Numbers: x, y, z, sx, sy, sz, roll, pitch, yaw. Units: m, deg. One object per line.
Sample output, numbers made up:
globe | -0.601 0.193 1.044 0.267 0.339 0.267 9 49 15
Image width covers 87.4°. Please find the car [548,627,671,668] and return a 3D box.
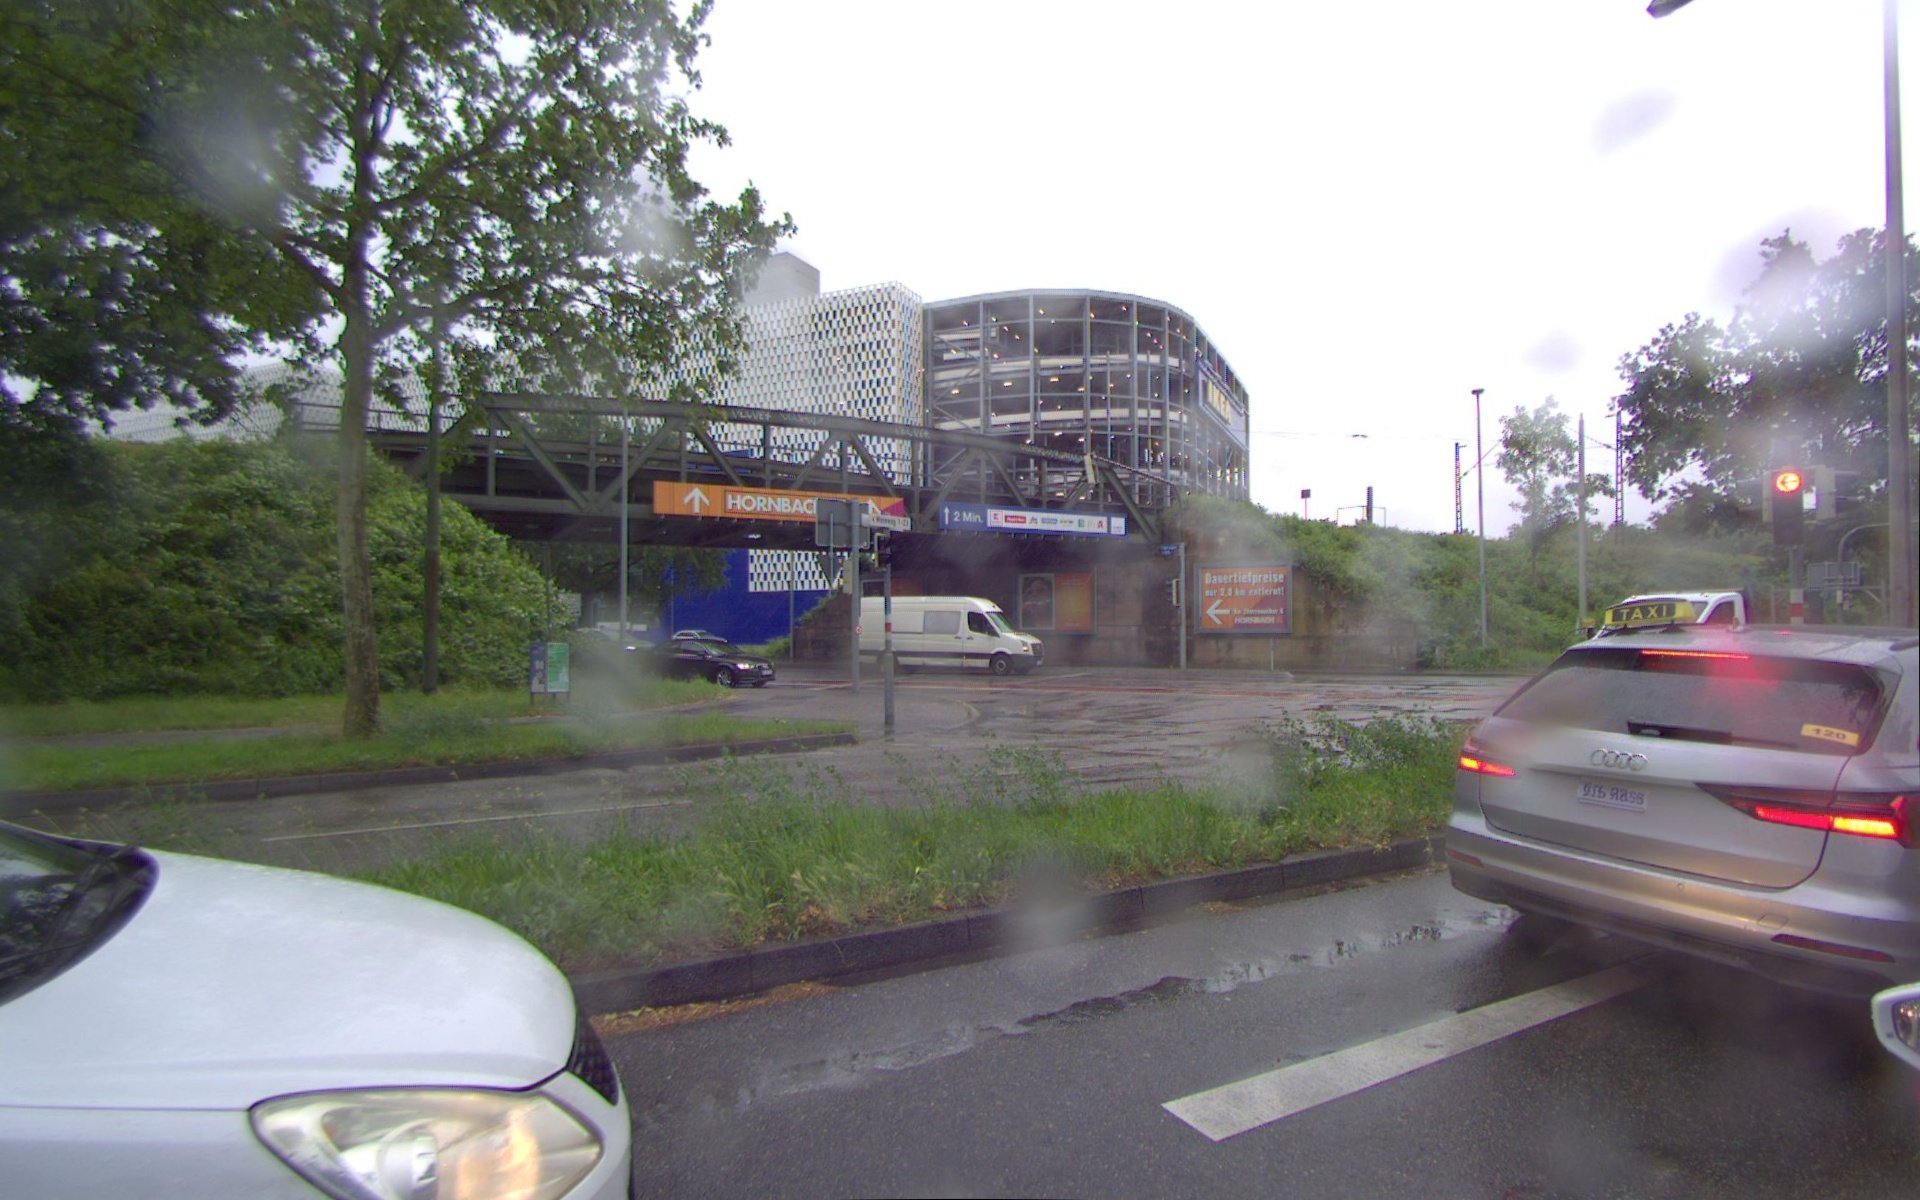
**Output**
car | -14.574 1.962 41.751 4.858 1.621 1.882 -1 -2 24

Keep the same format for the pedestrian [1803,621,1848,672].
pedestrian | 32.399 1.732 37.603 1.122 1.871 1.092 2 -2 -41

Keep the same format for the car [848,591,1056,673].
car | -0.323 1.107 34.760 6.847 2.645 2.386 -1 -2 25

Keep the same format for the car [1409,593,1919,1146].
car | 4.431 0.813 4.826 4.766 1.595 1.760 1 0 -31

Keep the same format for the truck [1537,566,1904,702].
truck | 15.064 0.673 19.918 6.761 2.396 2.472 1 -2 -19

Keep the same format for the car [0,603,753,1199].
car | -2.414 0.702 1.103 3.965 1.395 1.670 1 0 -31

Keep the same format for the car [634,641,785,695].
car | -7.285 1.956 29.253 4.067 1.453 1.693 -1 -1 23
